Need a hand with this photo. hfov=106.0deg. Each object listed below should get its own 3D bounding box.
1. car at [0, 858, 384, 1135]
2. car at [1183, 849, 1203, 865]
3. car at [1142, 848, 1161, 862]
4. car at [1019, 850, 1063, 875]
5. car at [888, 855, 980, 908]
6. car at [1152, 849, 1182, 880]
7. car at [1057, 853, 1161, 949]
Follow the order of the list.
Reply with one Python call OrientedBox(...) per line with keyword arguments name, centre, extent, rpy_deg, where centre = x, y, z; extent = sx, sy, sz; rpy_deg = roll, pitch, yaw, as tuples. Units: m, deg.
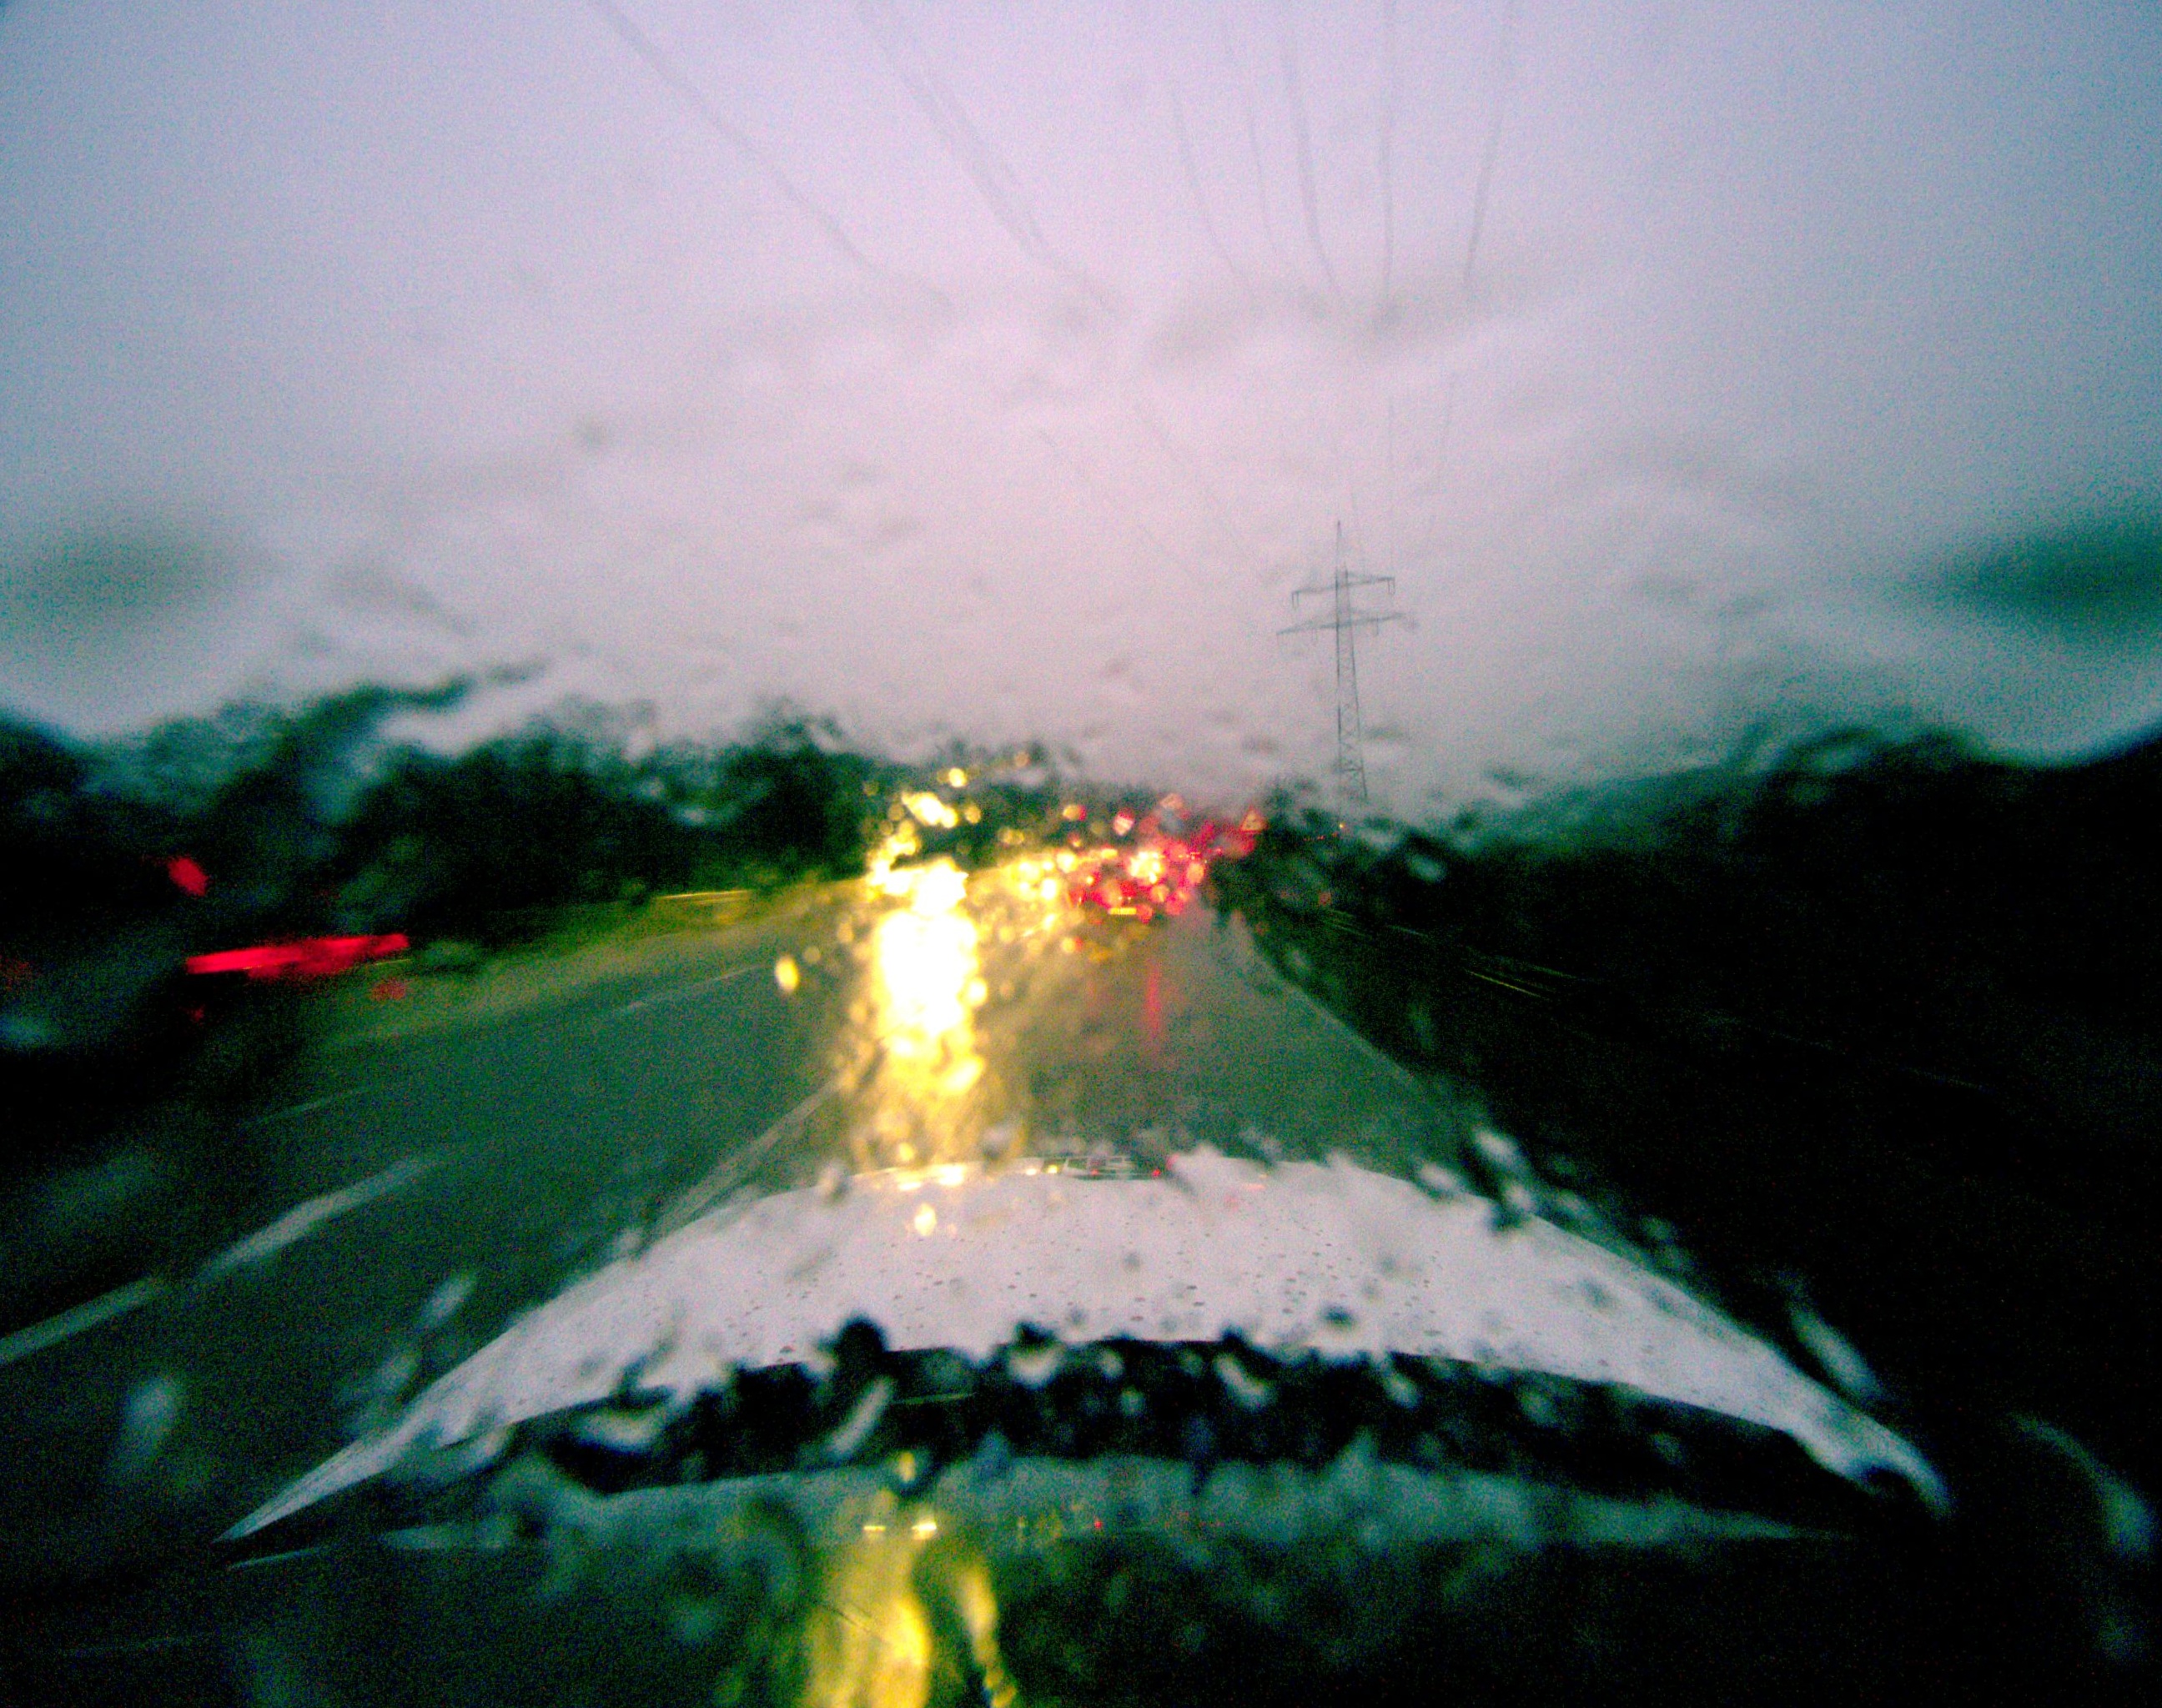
OrientedBox(name="car", centre=(-6.747, 0.816, 4.578), extent=(1.629, 1.472, 4.453), rpy_deg=(-1, 1, 3))
OrientedBox(name="car", centre=(12.846, 0.331, 93.297), extent=(1.933, 1.745, 4.013), rpy_deg=(-2, 0, 12))
OrientedBox(name="car", centre=(8.174, 0.140, 94.251), extent=(1.852, 1.501, 4.534), rpy_deg=(-2, 0, 10))
OrientedBox(name="car", centre=(-2.470, 0.509, 51.346), extent=(1.983, 1.490, 4.390), rpy_deg=(-1, 0, 7))
OrientedBox(name="car", centre=(-4.779, 0.853, 27.066), extent=(1.879, 1.589, 4.388), rpy_deg=(-1, 0, 5))
OrientedBox(name="car", centre=(5.815, 0.672, 54.847), extent=(1.936, 2.013, 4.008), rpy_deg=(-1, 0, 6))
OrientedBox(name="car", centre=(0.601, 0.838, 16.553), extent=(1.723, 1.532, 4.046), rpy_deg=(-5, 0, 3))
